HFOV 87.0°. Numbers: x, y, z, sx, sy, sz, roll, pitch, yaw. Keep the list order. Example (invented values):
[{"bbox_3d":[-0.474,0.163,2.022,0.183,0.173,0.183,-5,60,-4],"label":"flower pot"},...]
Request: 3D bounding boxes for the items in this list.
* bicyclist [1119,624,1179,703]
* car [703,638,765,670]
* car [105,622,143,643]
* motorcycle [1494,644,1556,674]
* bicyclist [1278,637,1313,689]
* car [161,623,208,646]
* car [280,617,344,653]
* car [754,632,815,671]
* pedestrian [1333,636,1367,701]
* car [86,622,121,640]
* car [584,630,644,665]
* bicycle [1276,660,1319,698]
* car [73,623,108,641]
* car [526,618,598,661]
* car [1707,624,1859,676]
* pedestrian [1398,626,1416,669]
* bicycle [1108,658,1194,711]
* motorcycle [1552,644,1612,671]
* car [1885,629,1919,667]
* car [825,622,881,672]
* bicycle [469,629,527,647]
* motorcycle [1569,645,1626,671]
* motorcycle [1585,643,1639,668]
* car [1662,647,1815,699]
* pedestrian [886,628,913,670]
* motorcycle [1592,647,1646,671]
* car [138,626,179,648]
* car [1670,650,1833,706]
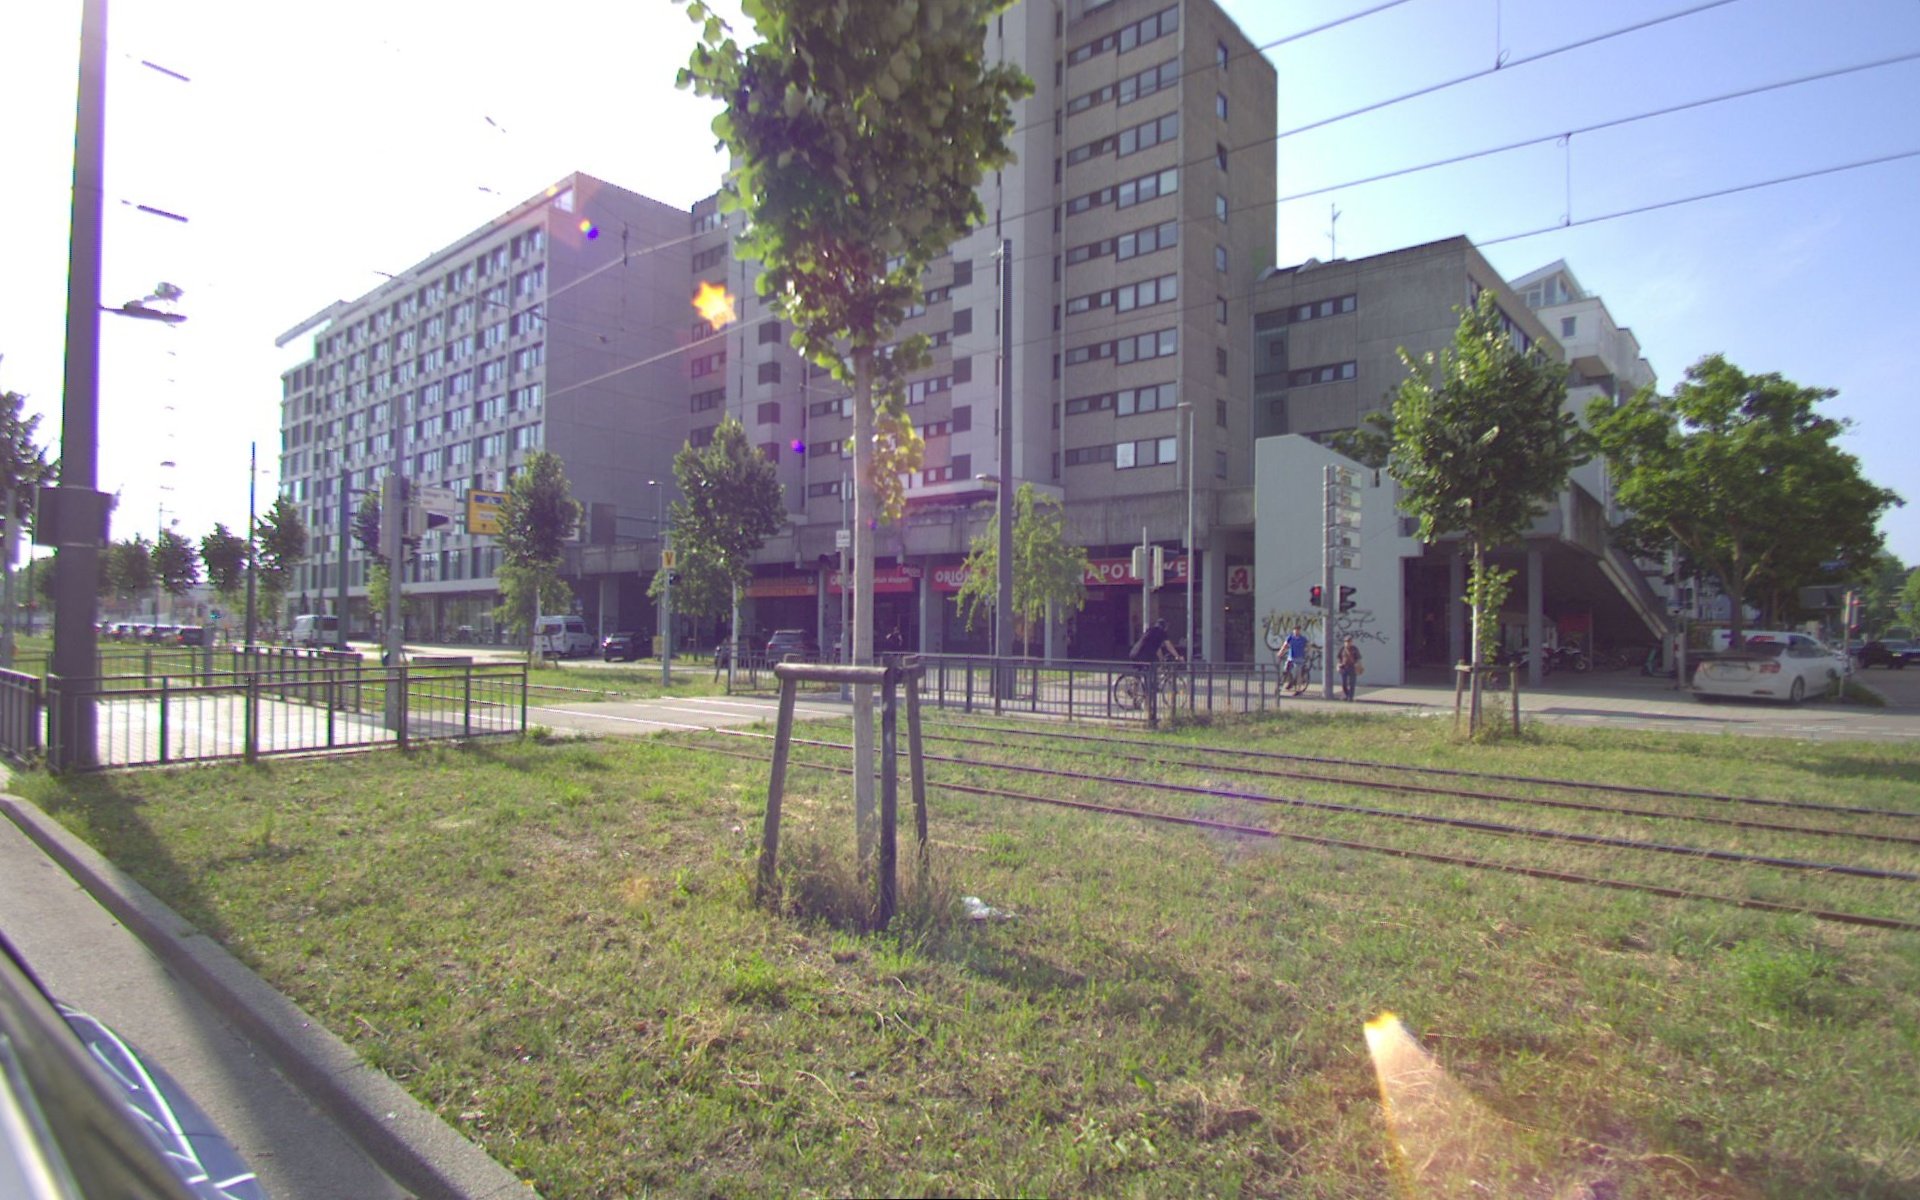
[{"bbox_3d":[3.515,1.188,18.852,0.957,1.406,0.548,4,-5,-29],"label":"bicyclist"},{"bbox_3d":[-10.280,2.444,46.353,1.854,1.253,4.110,-1,0,1],"label":"car"},{"bbox_3d":[-65.193,2.518,78.893,4.000,1.586,1.787,-1,-2,43],"label":"car"},{"bbox_3d":[20.887,2.173,37.458,1.945,1.025,0.487,-1,-2,41],"label":"motorcycle"},{"bbox_3d":[9.555,1.772,28.784,0.684,1.451,1.012,-1,-2,35],"label":"bicyclist"},{"bbox_3d":[-50.564,2.225,65.985,4.000,1.492,1.787,-1,-2,43],"label":"car"},{"bbox_3d":[-42.866,2.291,66.890,5.330,2.256,2.025,-1,-2,40],"label":"car"},{"bbox_3d":[-7.563,2.205,44.030,1.854,1.618,4.109,0,-2,1],"label":"car"},{"bbox_3d":[10.433,1.811,27.042,0.646,1.703,0.651,-1,-3,44],"label":"pedestrian"},{"bbox_3d":[-70.817,2.541,83.674,4.000,1.486,1.787,-1,-2,43],"label":"car"},{"bbox_3d":[-17.875,2.448,52.411,2.070,1.594,4.005,-2,0,-6],"label":"car"},{"bbox_3d":[9.664,2.239,28.916,0.684,0.998,1.647,-1,-2,37],"label":"bicycle"},{"bbox_3d":[-76.484,2.778,89.026,3.998,1.536,1.764,-1,-2,42],"label":"car"},{"bbox_3d":[-22.463,2.214,57.350,1.859,2.326,5.407,0,-2,0],"label":"car"},{"bbox_3d":[34.337,2.058,42.356,4.830,1.983,1.973,0,-2,41],"label":"car"},{"bbox_3d":[18.827,1.980,42.622,0.622,1.790,0.693,-1,-2,28],"label":"pedestrian"},{"bbox_3d":[3.563,1.575,18.857,1.585,0.942,0.559,4,-5,-29],"label":"bicycle"},{"bbox_3d":[24.309,2.232,39.598,1.945,1.025,0.487,-1,-2,41],"label":"motorcycle"},{"bbox_3d":[52.446,2.636,55.824,1.810,2.029,3.947,-1,-3,39],"label":"car"},{"bbox_3d":[-4.432,1.927,42.388,1.854,1.983,4.109,0,-2,1],"label":"car"},{"bbox_3d":[-36.097,2.944,79.183,3.937,1.377,1.128,2,-2,-40],"label":"bicycle"},{"bbox_3d":[26.756,2.439,42.503,1.945,1.025,0.487,-1,-2,41],"label":"motorcycle"},{"bbox_3d":[28.594,2.423,44.397,1.945,1.025,0.549,-1,-2,41],"label":"motorcycle"},{"bbox_3d":[28.602,2.631,37.343,4.374,1.640,1.891,-1,0,38],"label":"car"},{"bbox_3d":[-2.512,2.031,42.197,1.102,1.709,0.743,0,-2,-2],"label":"pedestrian"},{"bbox_3d":[29.382,2.614,45.122,1.945,1.025,0.549,-1,-2,41],"label":"motorcycle"},{"bbox_3d":[-56.297,2.596,71.047,3.641,1.498,1.722,-1,-2,43],"label":"car"},{"bbox_3d":[27.420,2.655,35.219,4.374,1.640,1.891,-1,0,38],"label":"car"}]
